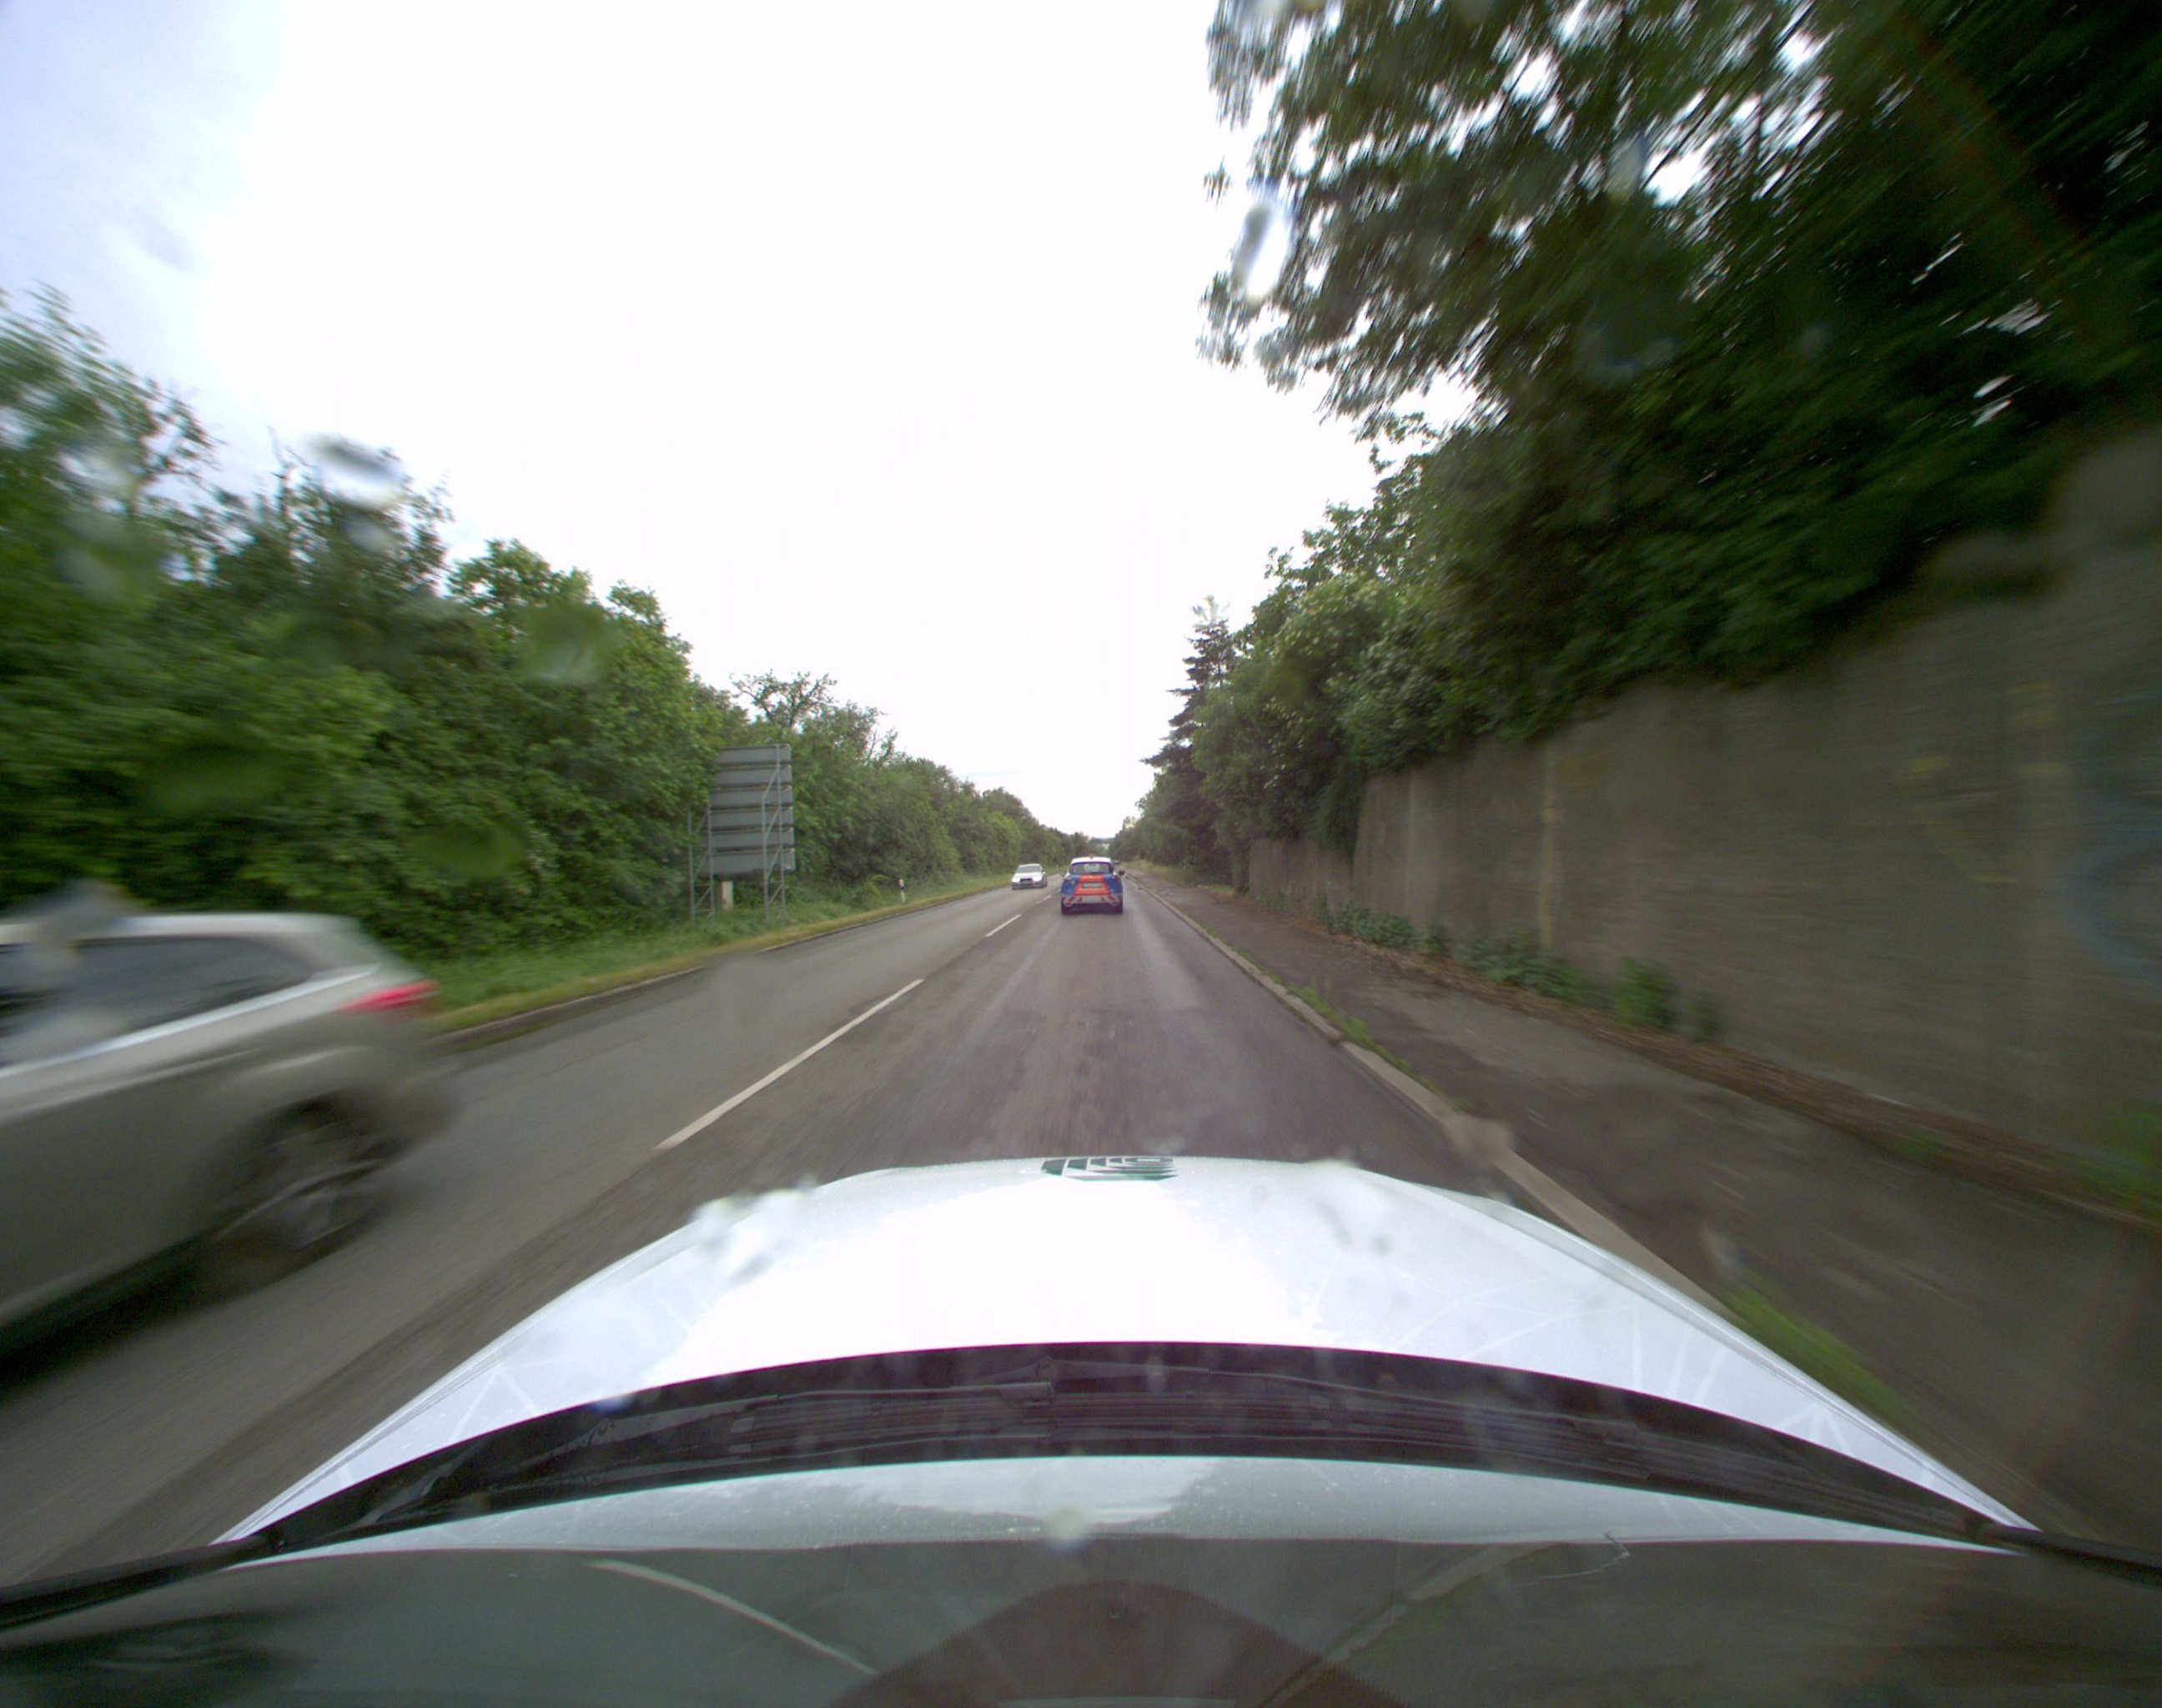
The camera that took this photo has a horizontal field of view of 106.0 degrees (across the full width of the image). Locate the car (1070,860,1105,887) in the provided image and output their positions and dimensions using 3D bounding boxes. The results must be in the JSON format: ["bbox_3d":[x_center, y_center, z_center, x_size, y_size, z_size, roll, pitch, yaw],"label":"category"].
[{"bbox_3d":[0.378,0.982,42.419,1.592,1.287,3.478,-3,-1,2],"label":"car"}]

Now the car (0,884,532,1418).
[{"bbox_3d":[-3.983,0.926,2.256,1.818,1.420,4.321,-3,0,2],"label":"car"}]

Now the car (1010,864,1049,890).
[{"bbox_3d":[-2.982,1.296,47.592,1.884,1.354,4.382,-2,0,1],"label":"car"}]

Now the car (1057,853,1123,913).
[{"bbox_3d":[0.297,0.783,23.615,1.745,1.555,3.794,-1,0,1],"label":"car"}]
